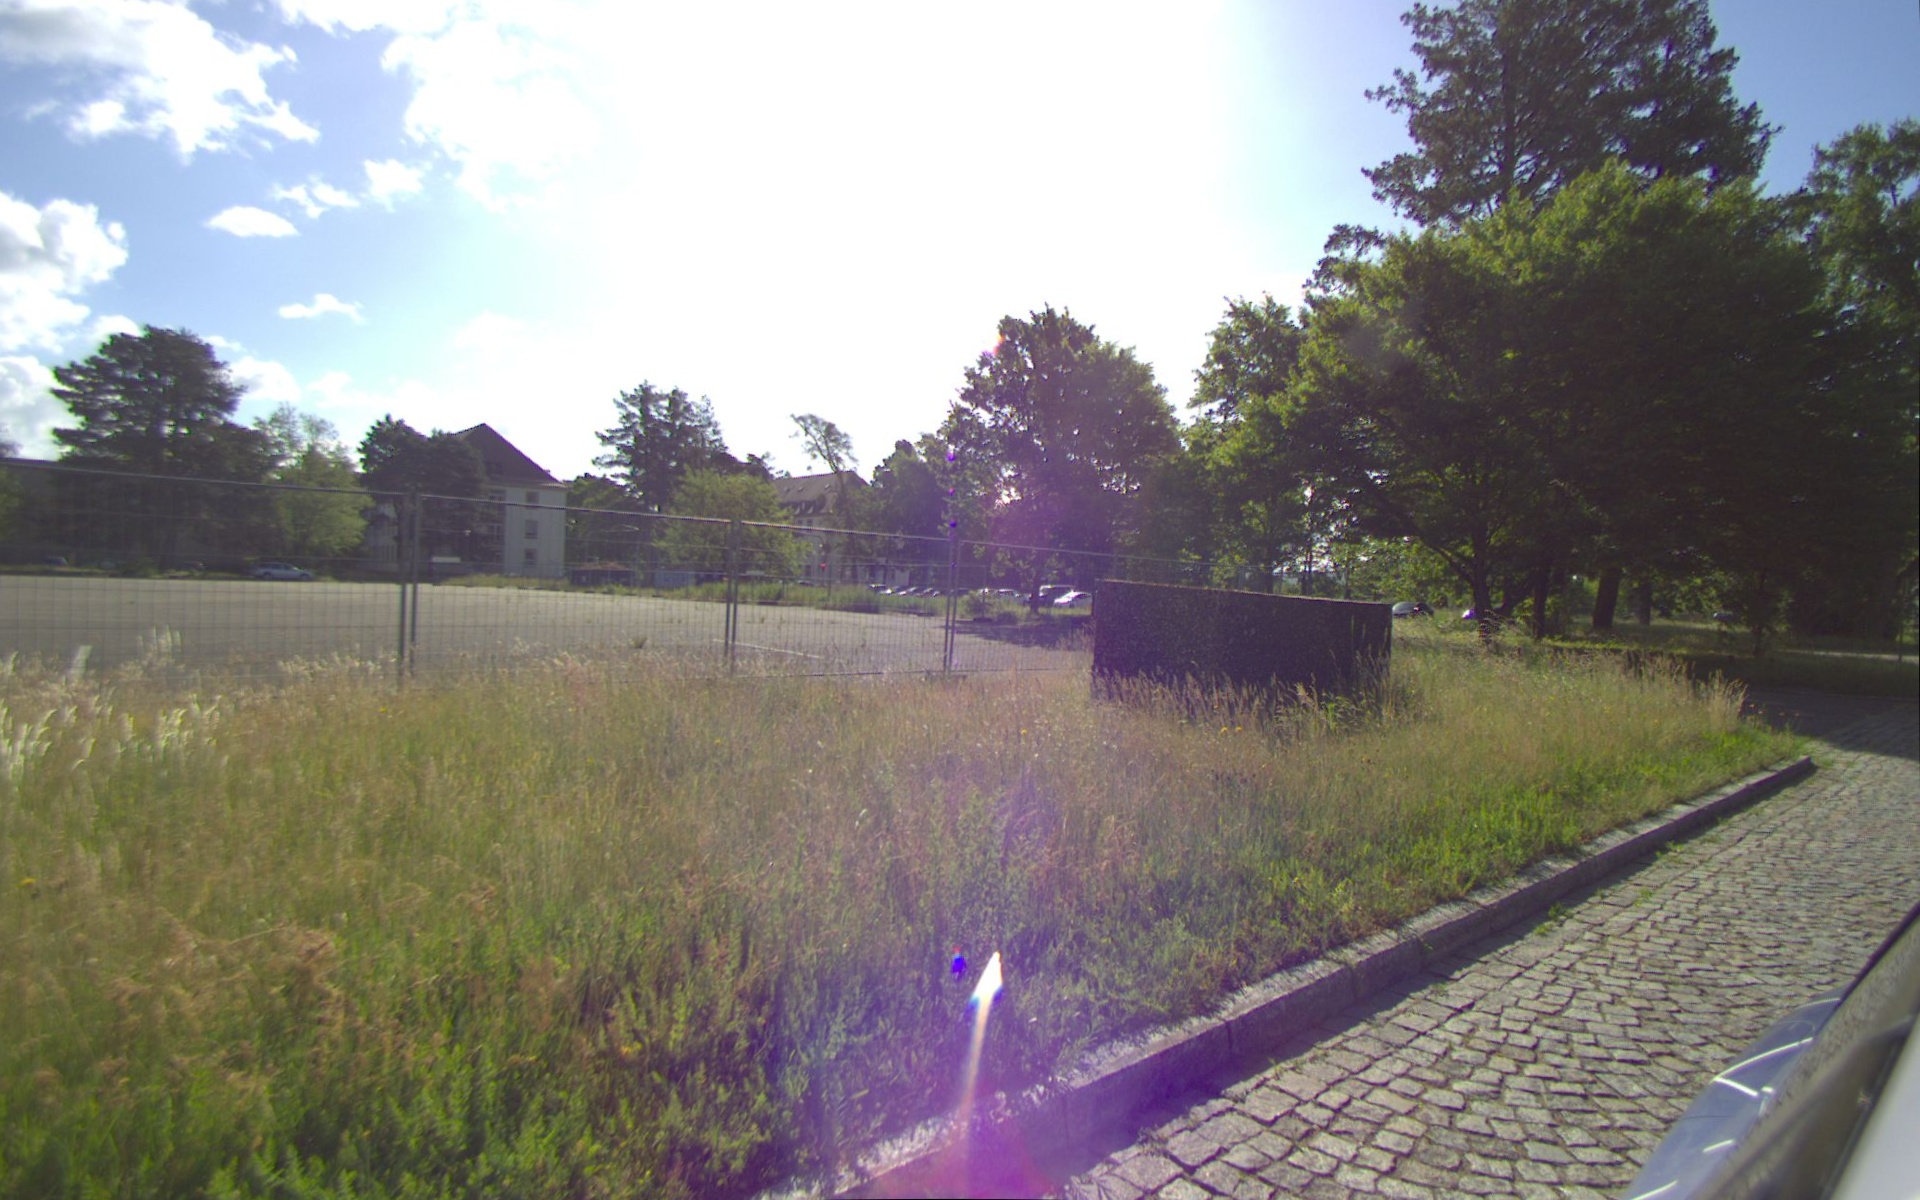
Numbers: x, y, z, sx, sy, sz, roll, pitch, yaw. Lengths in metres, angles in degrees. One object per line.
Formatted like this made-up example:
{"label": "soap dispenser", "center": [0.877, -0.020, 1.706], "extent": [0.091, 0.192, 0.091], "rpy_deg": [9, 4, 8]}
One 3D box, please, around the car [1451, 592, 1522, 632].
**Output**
{"label": "car", "center": [29.016, 0.637, 55.688], "extent": [4.278, 2.039, 2.242], "rpy_deg": [1, 1, -45]}

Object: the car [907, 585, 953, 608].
{"label": "car", "center": [-2.759, -0.287, 94.335], "extent": [3.931, 2.039, 1.997], "rpy_deg": [1, 1, -42]}

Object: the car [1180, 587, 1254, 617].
{"label": "car", "center": [17.933, 0.118, 70.492], "extent": [5.929, 2.039, 1.997], "rpy_deg": [-1, 0, -41]}

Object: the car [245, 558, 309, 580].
{"label": "car", "center": [-54.775, -2.465, 81.188], "extent": [1.995, 1.602, 3.935], "rpy_deg": [3, 1, 45]}

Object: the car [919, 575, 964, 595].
{"label": "car", "center": [-1.656, -1.390, 91.965], "extent": [3.782, 1.679, 1.741], "rpy_deg": [1, 1, -40]}

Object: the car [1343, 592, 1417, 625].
{"label": "car", "center": [25.512, 0.507, 61.444], "extent": [4.268, 1.862, 2.247], "rpy_deg": [1, 1, -37]}

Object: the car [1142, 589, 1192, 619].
{"label": "car", "center": [14.928, 0.279, 72.866], "extent": [3.557, 2.039, 1.740], "rpy_deg": [1, 1, -42]}

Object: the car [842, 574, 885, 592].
{"label": "car", "center": [-9.946, -1.781, 104.531], "extent": [3.929, 1.723, 1.998], "rpy_deg": [1, 1, -40]}

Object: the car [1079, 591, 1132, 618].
{"label": "car", "center": [11.318, 0.349, 78.654], "extent": [3.932, 2.039, 1.996], "rpy_deg": [1, 1, -43]}

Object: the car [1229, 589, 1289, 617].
{"label": "car", "center": [19.867, 0.208, 67.159], "extent": [3.931, 1.672, 1.997], "rpy_deg": [1, 1, -42]}

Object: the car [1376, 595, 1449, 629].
{"label": "car", "center": [26.434, 0.707, 59.112], "extent": [4.272, 1.862, 2.245], "rpy_deg": [1, 1, -40]}

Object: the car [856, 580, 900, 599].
{"label": "car", "center": [-8.005, -1.043, 98.967], "extent": [3.931, 1.706, 1.997], "rpy_deg": [1, 1, -42]}

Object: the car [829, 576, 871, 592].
{"label": "car", "center": [-11.610, -1.679, 106.741], "extent": [3.929, 1.494, 1.998], "rpy_deg": [1, 1, -40]}

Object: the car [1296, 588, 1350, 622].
{"label": "car", "center": [23.187, 0.314, 64.607], "extent": [3.557, 2.039, 1.740], "rpy_deg": [1, 1, -42]}

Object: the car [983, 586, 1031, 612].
{"label": "car", "center": [4.005, -0.080, 85.590], "extent": [3.782, 2.039, 1.741], "rpy_deg": [1, 1, -40]}

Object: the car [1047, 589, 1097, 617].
{"label": "car", "center": [8.805, 0.252, 79.474], "extent": [3.785, 2.039, 1.740], "rpy_deg": [1, 1, -42]}

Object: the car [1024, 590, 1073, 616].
{"label": "car", "center": [7.117, 0.244, 81.259], "extent": [3.782, 2.039, 1.741], "rpy_deg": [1, 1, -40]}

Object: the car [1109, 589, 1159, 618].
{"label": "car", "center": [12.869, 0.272, 74.786], "extent": [3.557, 2.039, 1.740], "rpy_deg": [1, 1, -42]}
